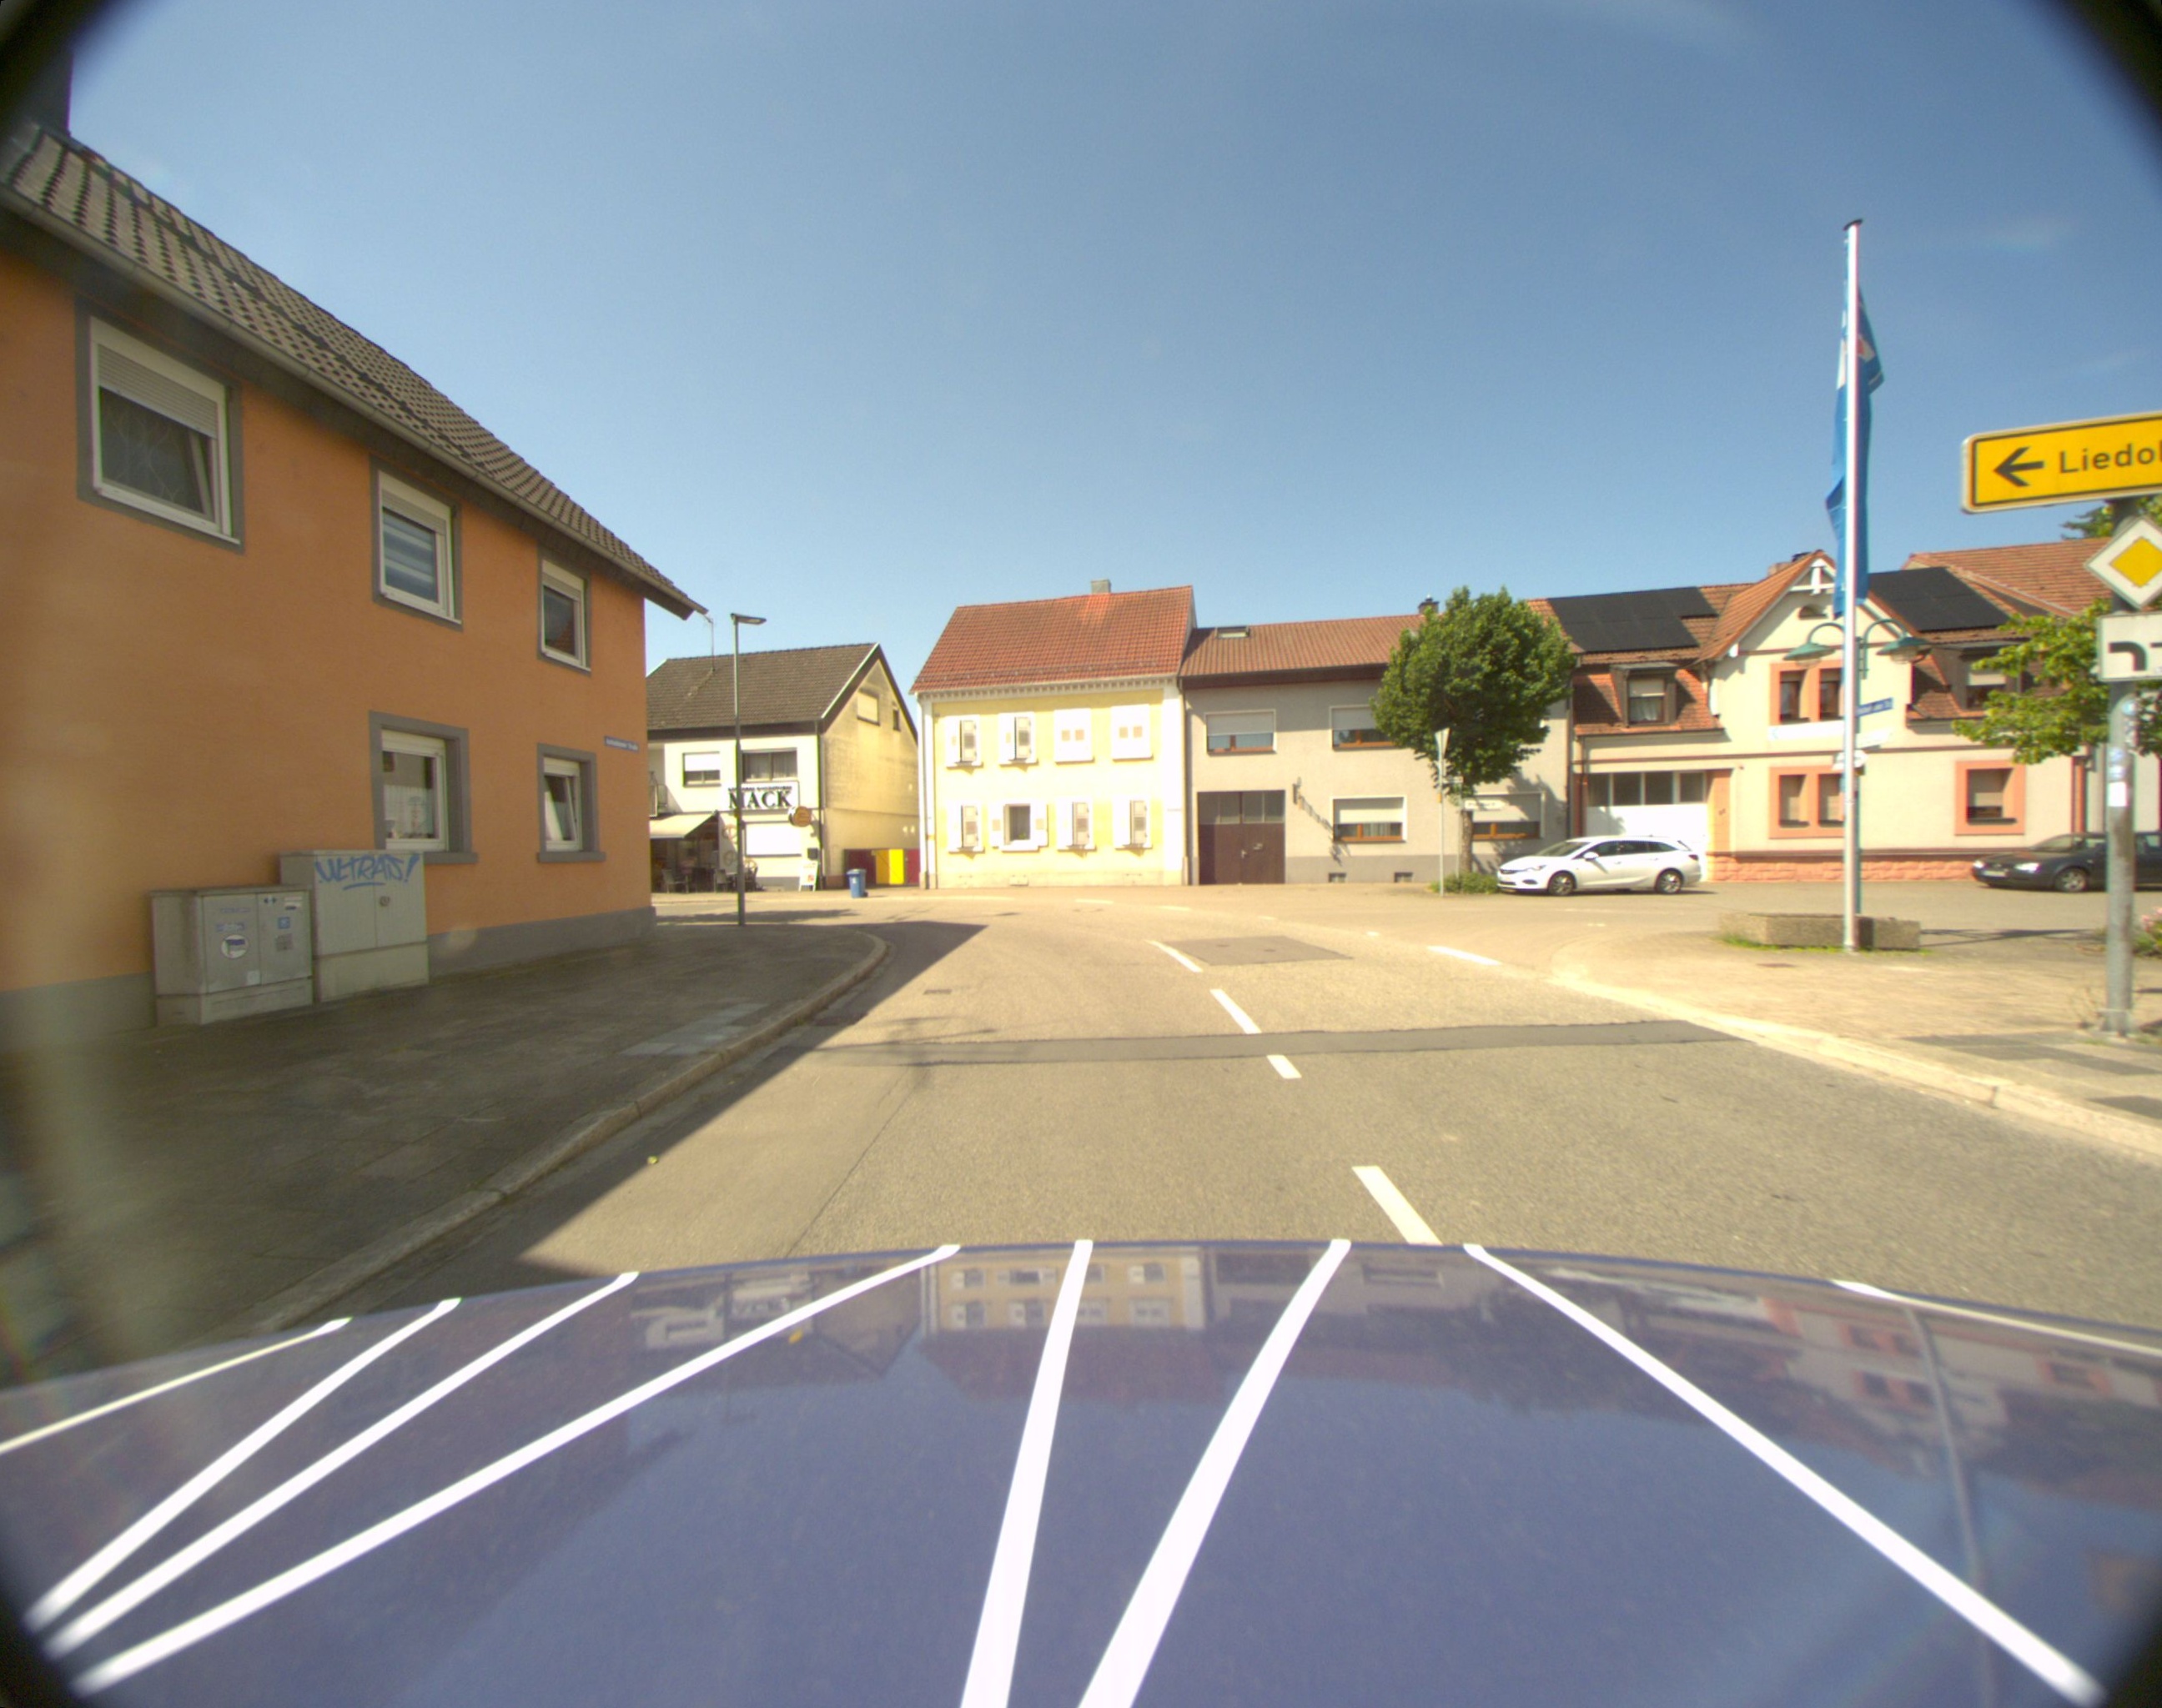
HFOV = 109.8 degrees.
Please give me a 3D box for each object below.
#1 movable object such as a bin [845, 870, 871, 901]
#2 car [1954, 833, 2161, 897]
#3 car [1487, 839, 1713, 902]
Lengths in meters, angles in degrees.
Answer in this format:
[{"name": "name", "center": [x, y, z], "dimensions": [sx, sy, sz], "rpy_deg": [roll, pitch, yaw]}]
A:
[{"name": "movable object such as a bin", "center": [-7.397, 1.040, 25.273], "dimensions": [0.613, 0.975, 0.645], "rpy_deg": [-1, 2, 4]}, {"name": "car", "center": [25.192, 0.226, 18.543], "dimensions": [5.205, 1.432, 1.991], "rpy_deg": [-1, 1, 5]}, {"name": "car", "center": [13.099, 0.386, 19.387], "dimensions": [4.510, 1.432, 1.855], "rpy_deg": [-1, 1, 0]}]
